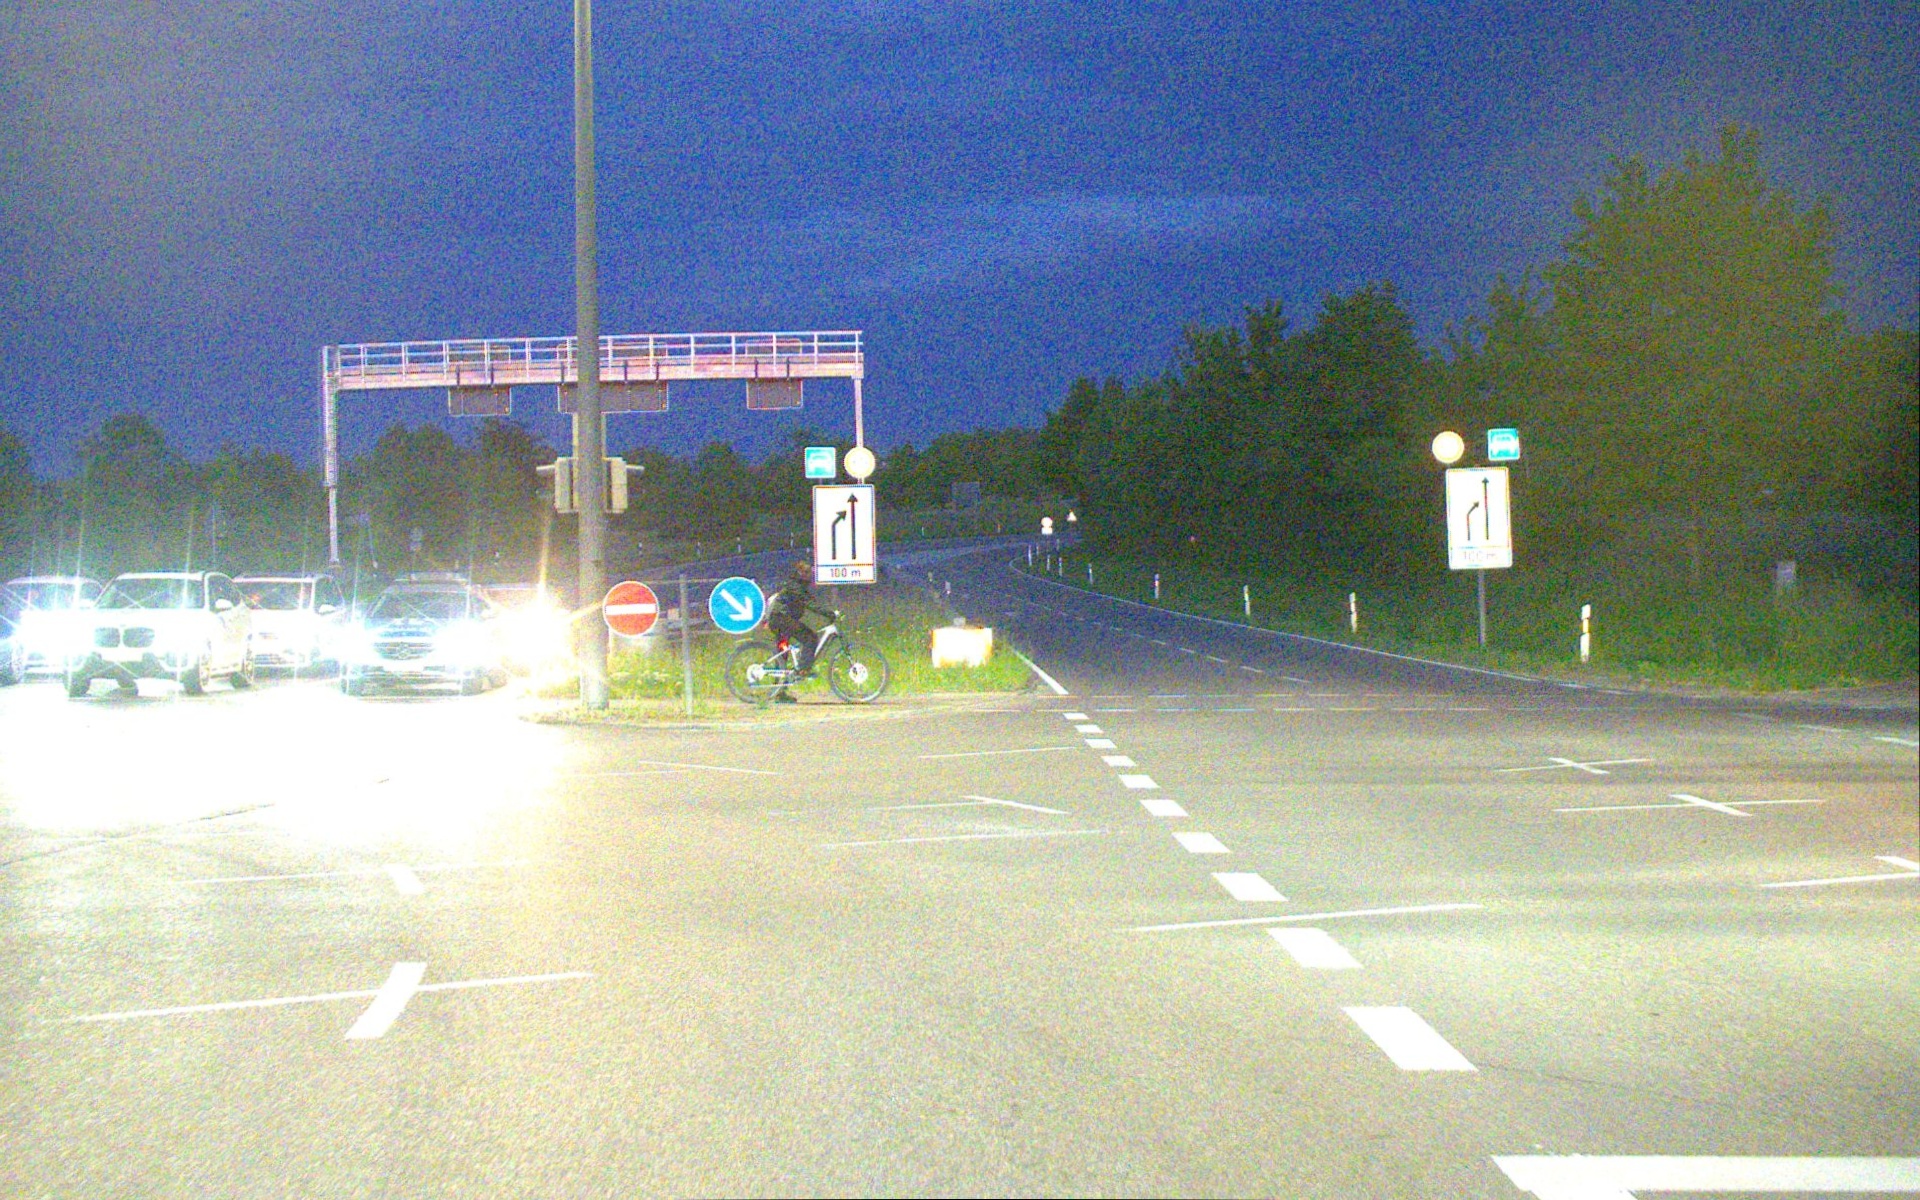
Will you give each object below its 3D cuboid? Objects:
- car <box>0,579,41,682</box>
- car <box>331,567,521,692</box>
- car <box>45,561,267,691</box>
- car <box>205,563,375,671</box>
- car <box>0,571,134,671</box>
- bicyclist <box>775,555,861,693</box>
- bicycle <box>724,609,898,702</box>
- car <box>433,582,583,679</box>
[{"bbox_3d":[-14.491,0.436,48.426,1.780,1.441,4.291,1,1,2],"label":"car"},{"bbox_3d":[-7.304,0.367,47.426,1.852,1.627,4.585,0,1,1],"label":"car"},{"bbox_3d":[-10.983,0.313,47.280,1.908,1.676,4.420,1,1,1],"label":"car"},{"bbox_3d":[-10.586,0.230,54.582,1.745,1.621,4.362,0,1,1],"label":"car"},{"bbox_3d":[-14.585,0.307,54.756,1.831,1.519,4.000,-1,1,1],"label":"car"},{"bbox_3d":[-1.704,0.283,41.265,0.997,1.645,0.604,0,0,-5],"label":"bicyclist"},{"bbox_3d":[-1.795,0.663,41.243,2.061,1.097,0.695,0,0,-5],"label":"bicycle"},{"bbox_3d":[-7.232,0.461,55.339,1.773,1.476,3.910,1,1,2],"label":"car"}]
